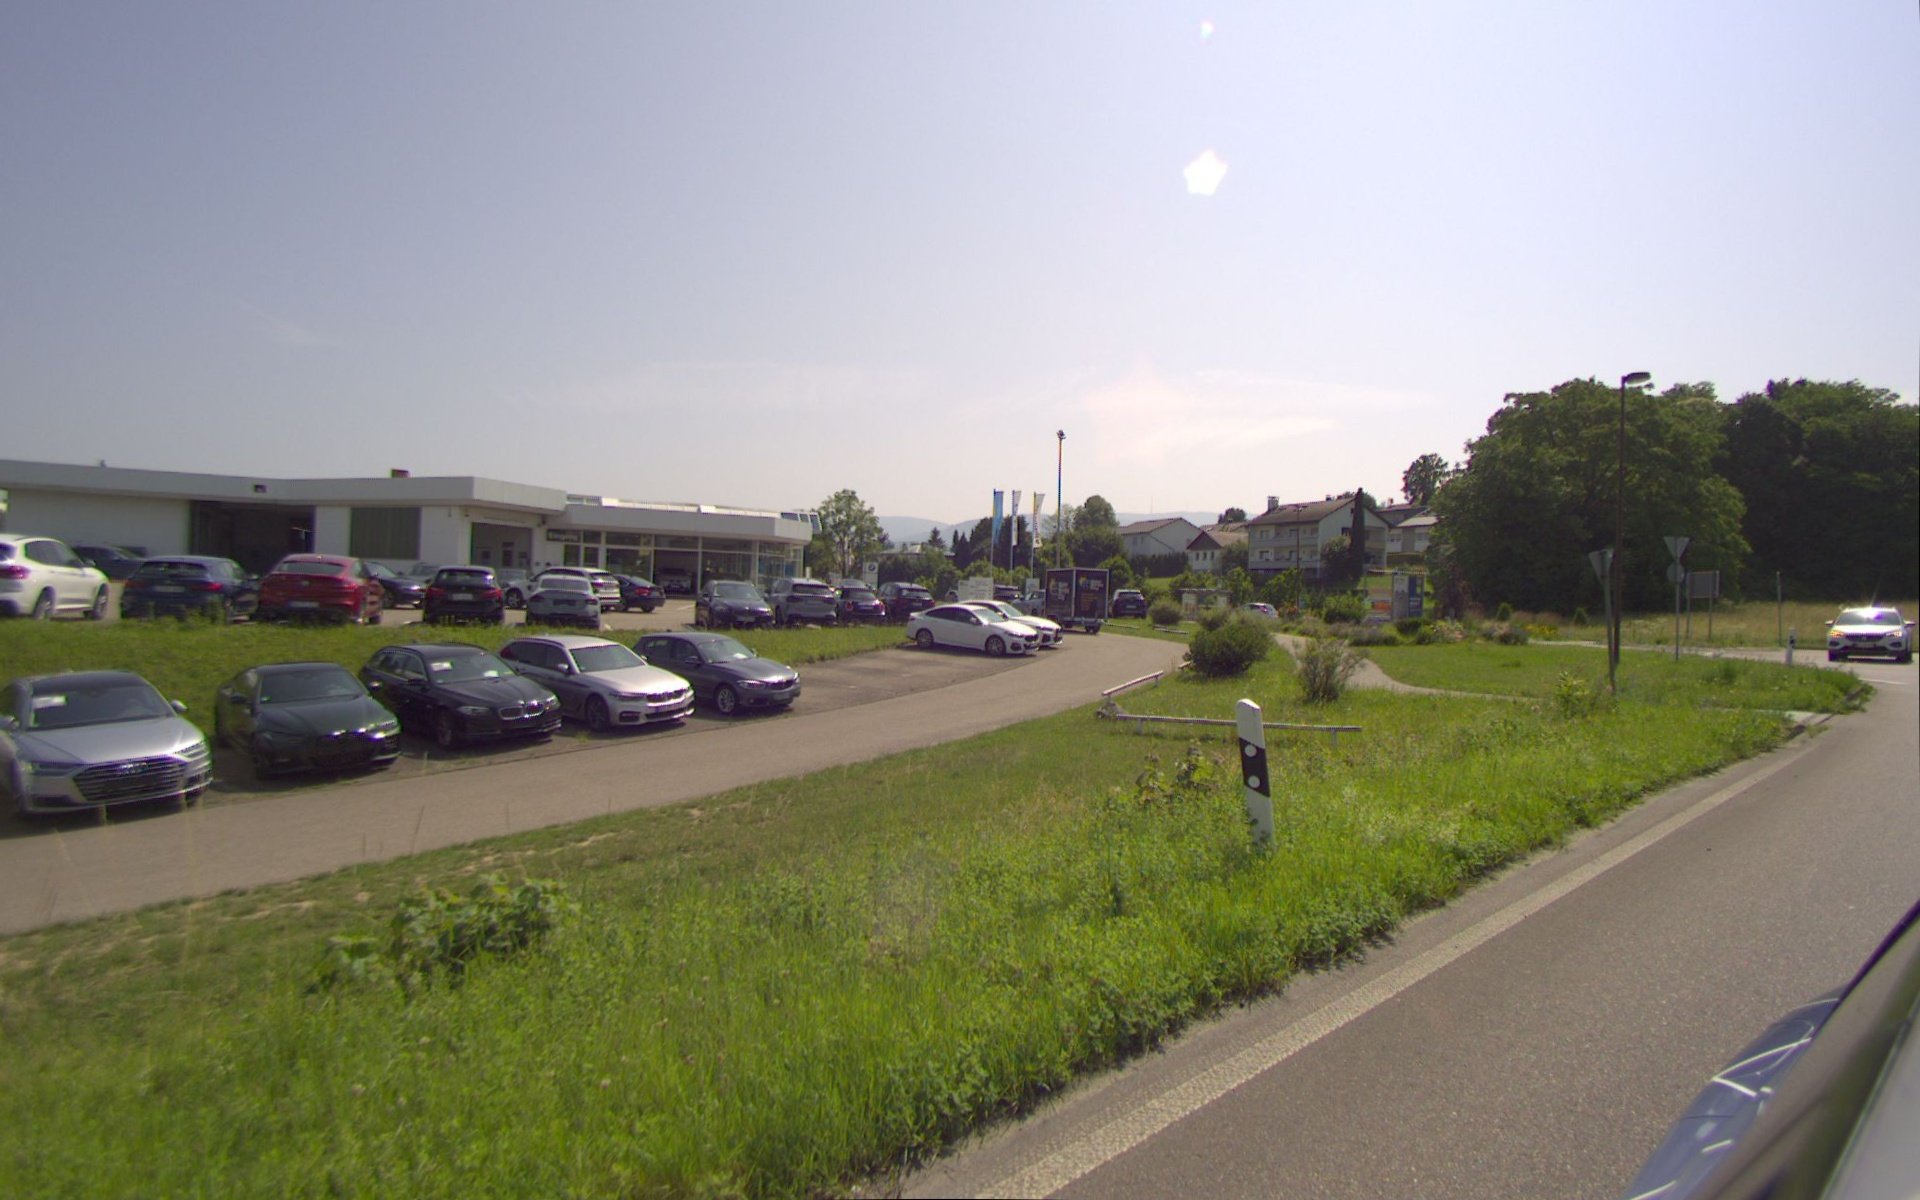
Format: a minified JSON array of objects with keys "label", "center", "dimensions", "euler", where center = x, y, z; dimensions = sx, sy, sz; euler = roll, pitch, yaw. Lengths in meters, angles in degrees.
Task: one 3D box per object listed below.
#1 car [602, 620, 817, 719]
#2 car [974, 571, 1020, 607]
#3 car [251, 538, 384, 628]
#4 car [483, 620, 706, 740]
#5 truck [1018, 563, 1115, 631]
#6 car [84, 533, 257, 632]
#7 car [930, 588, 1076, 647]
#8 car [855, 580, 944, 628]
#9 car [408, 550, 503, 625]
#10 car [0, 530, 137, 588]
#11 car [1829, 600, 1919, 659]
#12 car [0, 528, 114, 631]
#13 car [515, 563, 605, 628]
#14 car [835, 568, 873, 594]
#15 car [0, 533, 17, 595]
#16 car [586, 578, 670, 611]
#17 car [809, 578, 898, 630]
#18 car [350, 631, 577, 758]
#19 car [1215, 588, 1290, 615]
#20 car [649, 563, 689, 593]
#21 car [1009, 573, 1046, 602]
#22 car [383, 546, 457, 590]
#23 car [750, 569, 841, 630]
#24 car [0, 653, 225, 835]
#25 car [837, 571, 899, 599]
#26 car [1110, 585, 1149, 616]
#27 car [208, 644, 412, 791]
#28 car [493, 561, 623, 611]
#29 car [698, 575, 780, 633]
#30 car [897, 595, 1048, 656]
[{"label":"car","center":[-5.299,1.359,21.186],"dimensions":[4.540,1.438,1.764],"euler":[4,5,32]},{"label":"car","center":[1.876,-0.598,52.359],"dimensions":[1.871,1.701,3.824],"euler":[2,1,-5]},{"label":"car","center":[-14.254,-0.409,22.697],"dimensions":[1.909,1.769,4.477],"euler":[2,1,-25]},{"label":"car","center":[-7.089,1.415,19.426],"dimensions":[4.549,1.584,1.898],"euler":[4,5,37]},{"label":"truck","center":[4.551,-0.210,44.348],"dimensions":[1.908,2.698,5.640],"euler":[2,1,-20]},{"label":"car","center":[-16.003,-0.392,20.770],"dimensions":[1.801,1.769,4.477],"euler":[2,1,-25]},{"label":"car","center":[1.459,0.551,34.613],"dimensions":[4.620,1.589,1.753],"euler":[5,2,26]},{"label":"car","center":[-2.404,0.113,39.055],"dimensions":[1.909,1.517,4.437],"euler":[1,4,-25]},{"label":"car","center":[-12.562,-0.356,25.367],"dimensions":[1.909,1.655,4.477],"euler":[2,1,-25]},{"label":"car","center":[-28.110,-1.264,30.849],"dimensions":[4.214,1.616,2.200],"euler":[2,1,-23]},{"label":"car","center":[28.541,0.884,31.494],"dimensions":[2.187,1.673,5.047],"euler":[0,0,40]},{"label":"car","center":[-18.001,-0.454,19.257],"dimensions":[1.801,1.769,4.477],"euler":[2,1,-25]},{"label":"car","center":[-10.661,-0.177,26.795],"dimensions":[1.909,1.518,4.477],"euler":[2,1,-25]},{"label":"car","center":[-7.047,-1.256,67.156],"dimensions":[1.548,1.675,3.705],"euler":[0,0,-22]},{"label":"car","center":[-27.056,-1.001,25.637],"dimensions":[4.214,1.616,1.927],"euler":[2,1,-23]},{"label":"car","center":[-12.808,-0.221,39.036],"dimensions":[2.934,1.123,1.609],"euler":[3,1,34]},{"label":"car","center":[-3.938,0.112,36.795],"dimensions":[1.909,1.518,4.018],"euler":[3,2,-25]},{"label":"car","center":[-8.749,1.525,17.727],"dimensions":[4.240,1.499,1.898],"euler":[4,5,37]},{"label":"car","center":[18.985,0.119,65.800],"dimensions":[2.090,1.637,4.195],"euler":[3,-2,-39]},{"label":"car","center":[-16.771,-1.279,58.197],"dimensions":[1.869,1.606,4.050],"euler":[2,1,-20]},{"label":"car","center":[4.003,-0.745,59.428],"dimensions":[1.877,1.531,4.368],"euler":[3,1,7]},{"label":"car","center":[-20.681,-1.246,38.906],"dimensions":[1.908,1.541,4.478],"euler":[2,1,-21]},{"label":"car","center":[-5.567,-0.053,33.888],"dimensions":[1.909,1.771,4.018],"euler":[2,2,-25]},{"label":"car","center":[-11.704,1.739,13.547],"dimensions":[4.414,1.482,1.897],"euler":[5,5,38]},{"label":"car","center":[-6.888,-1.105,75.467],"dimensions":[4.172,2.039,2.004],"euler":[0,0,-22]},{"label":"car","center":[9.393,-0.003,56.268],"dimensions":[1.877,1.531,4.368],"euler":[3,1,7]},{"label":"car","center":[-10.239,1.676,15.809],"dimensions":[1.892,1.429,4.254],"euler":[-3,6,-44]},{"label":"car","center":[-14.614,-0.525,36.826],"dimensions":[4.205,1.606,1.651],"euler":[3,1,14]},{"label":"car","center":[-6.775,0.067,30.713],"dimensions":[1.908,1.545,4.018],"euler":[2,1,-19]},{"label":"car","center":[0.362,0.751,32.074],"dimensions":[4.542,1.589,1.749],"euler":[3,3,32]}]
